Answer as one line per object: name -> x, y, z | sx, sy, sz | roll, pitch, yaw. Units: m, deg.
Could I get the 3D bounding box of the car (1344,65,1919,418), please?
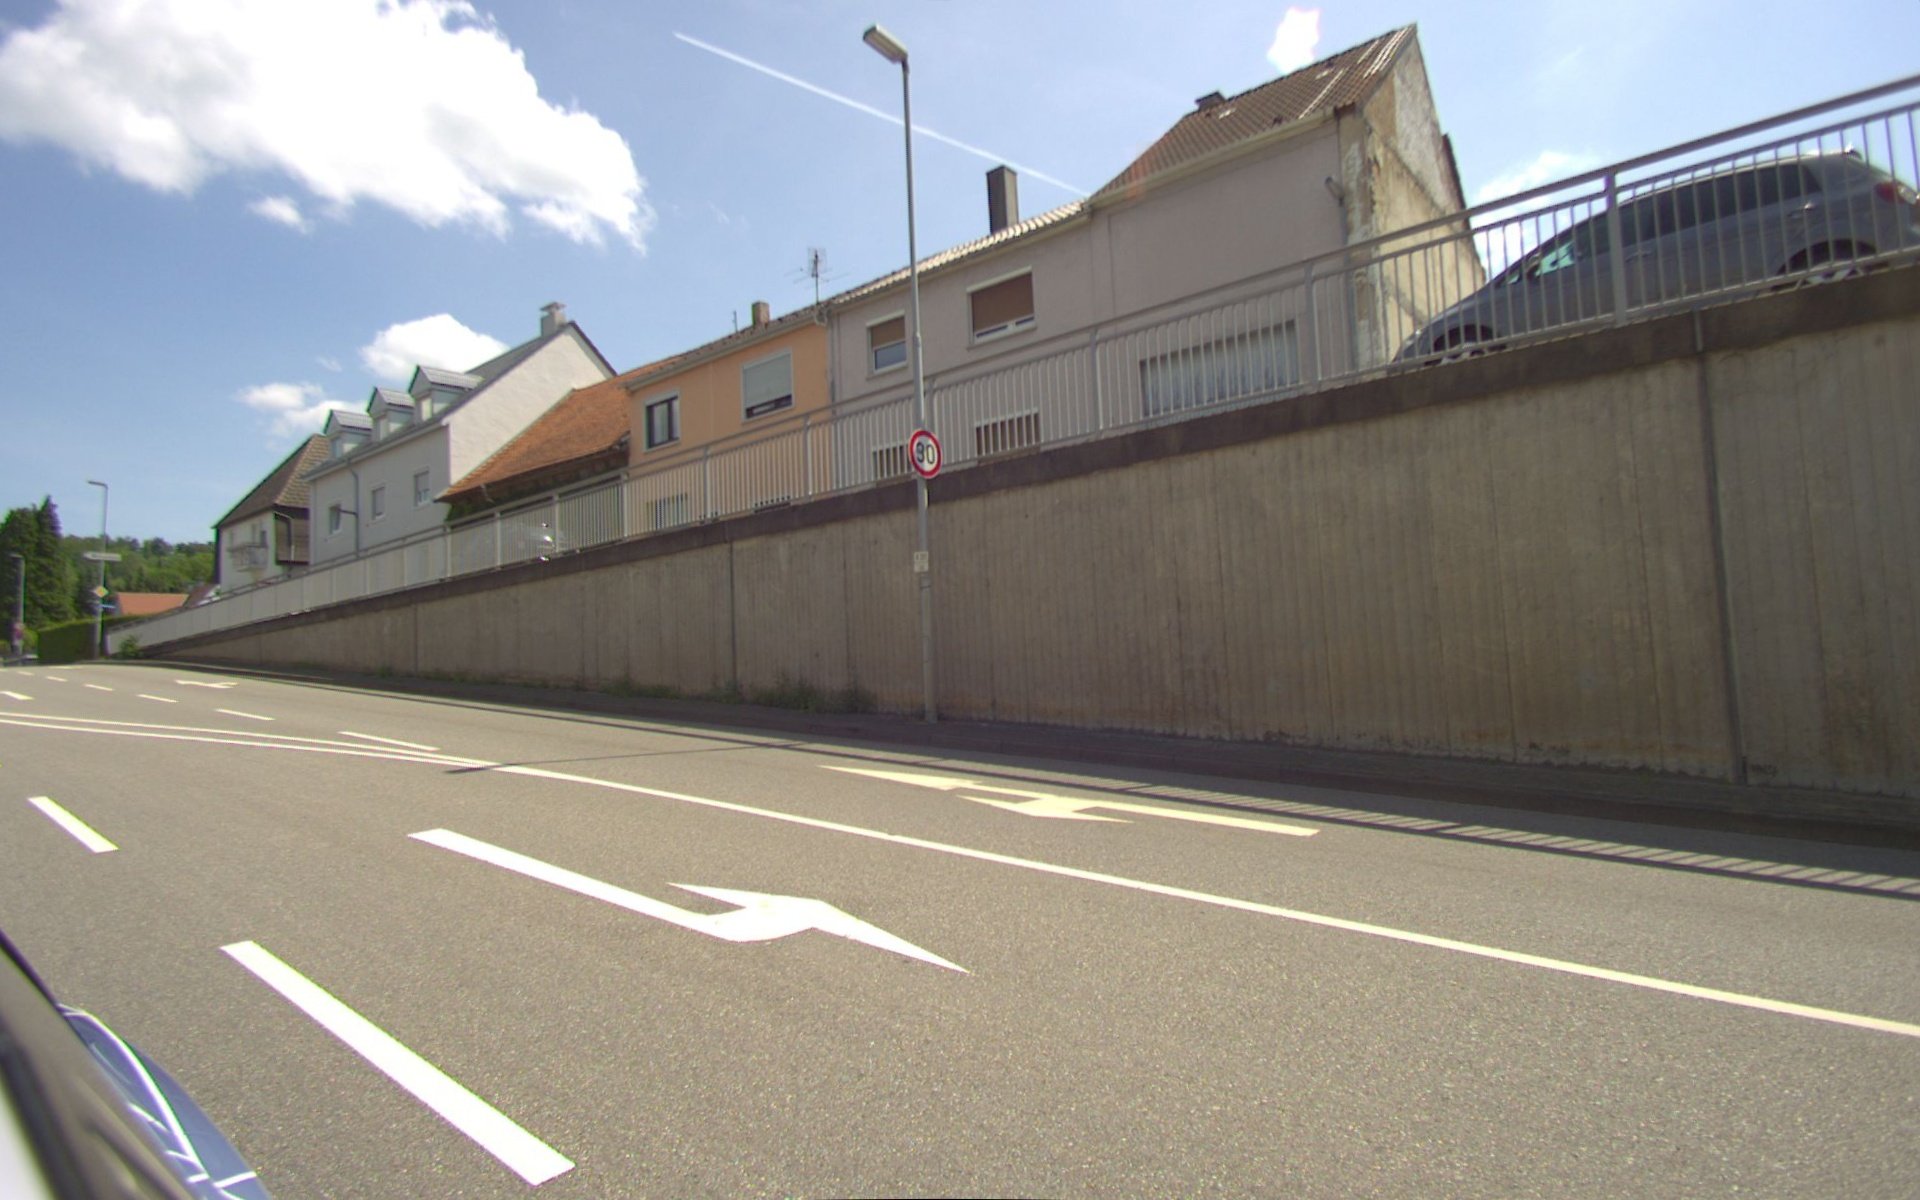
car -> 5.965, -2.898, 8.982 | 4.388, 1.536, 1.781 | -5, -4, 39

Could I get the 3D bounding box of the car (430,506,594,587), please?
car -> -10.693, -1.187, 24.021 | 4.388, 1.416, 1.768 | -5, -4, 39
